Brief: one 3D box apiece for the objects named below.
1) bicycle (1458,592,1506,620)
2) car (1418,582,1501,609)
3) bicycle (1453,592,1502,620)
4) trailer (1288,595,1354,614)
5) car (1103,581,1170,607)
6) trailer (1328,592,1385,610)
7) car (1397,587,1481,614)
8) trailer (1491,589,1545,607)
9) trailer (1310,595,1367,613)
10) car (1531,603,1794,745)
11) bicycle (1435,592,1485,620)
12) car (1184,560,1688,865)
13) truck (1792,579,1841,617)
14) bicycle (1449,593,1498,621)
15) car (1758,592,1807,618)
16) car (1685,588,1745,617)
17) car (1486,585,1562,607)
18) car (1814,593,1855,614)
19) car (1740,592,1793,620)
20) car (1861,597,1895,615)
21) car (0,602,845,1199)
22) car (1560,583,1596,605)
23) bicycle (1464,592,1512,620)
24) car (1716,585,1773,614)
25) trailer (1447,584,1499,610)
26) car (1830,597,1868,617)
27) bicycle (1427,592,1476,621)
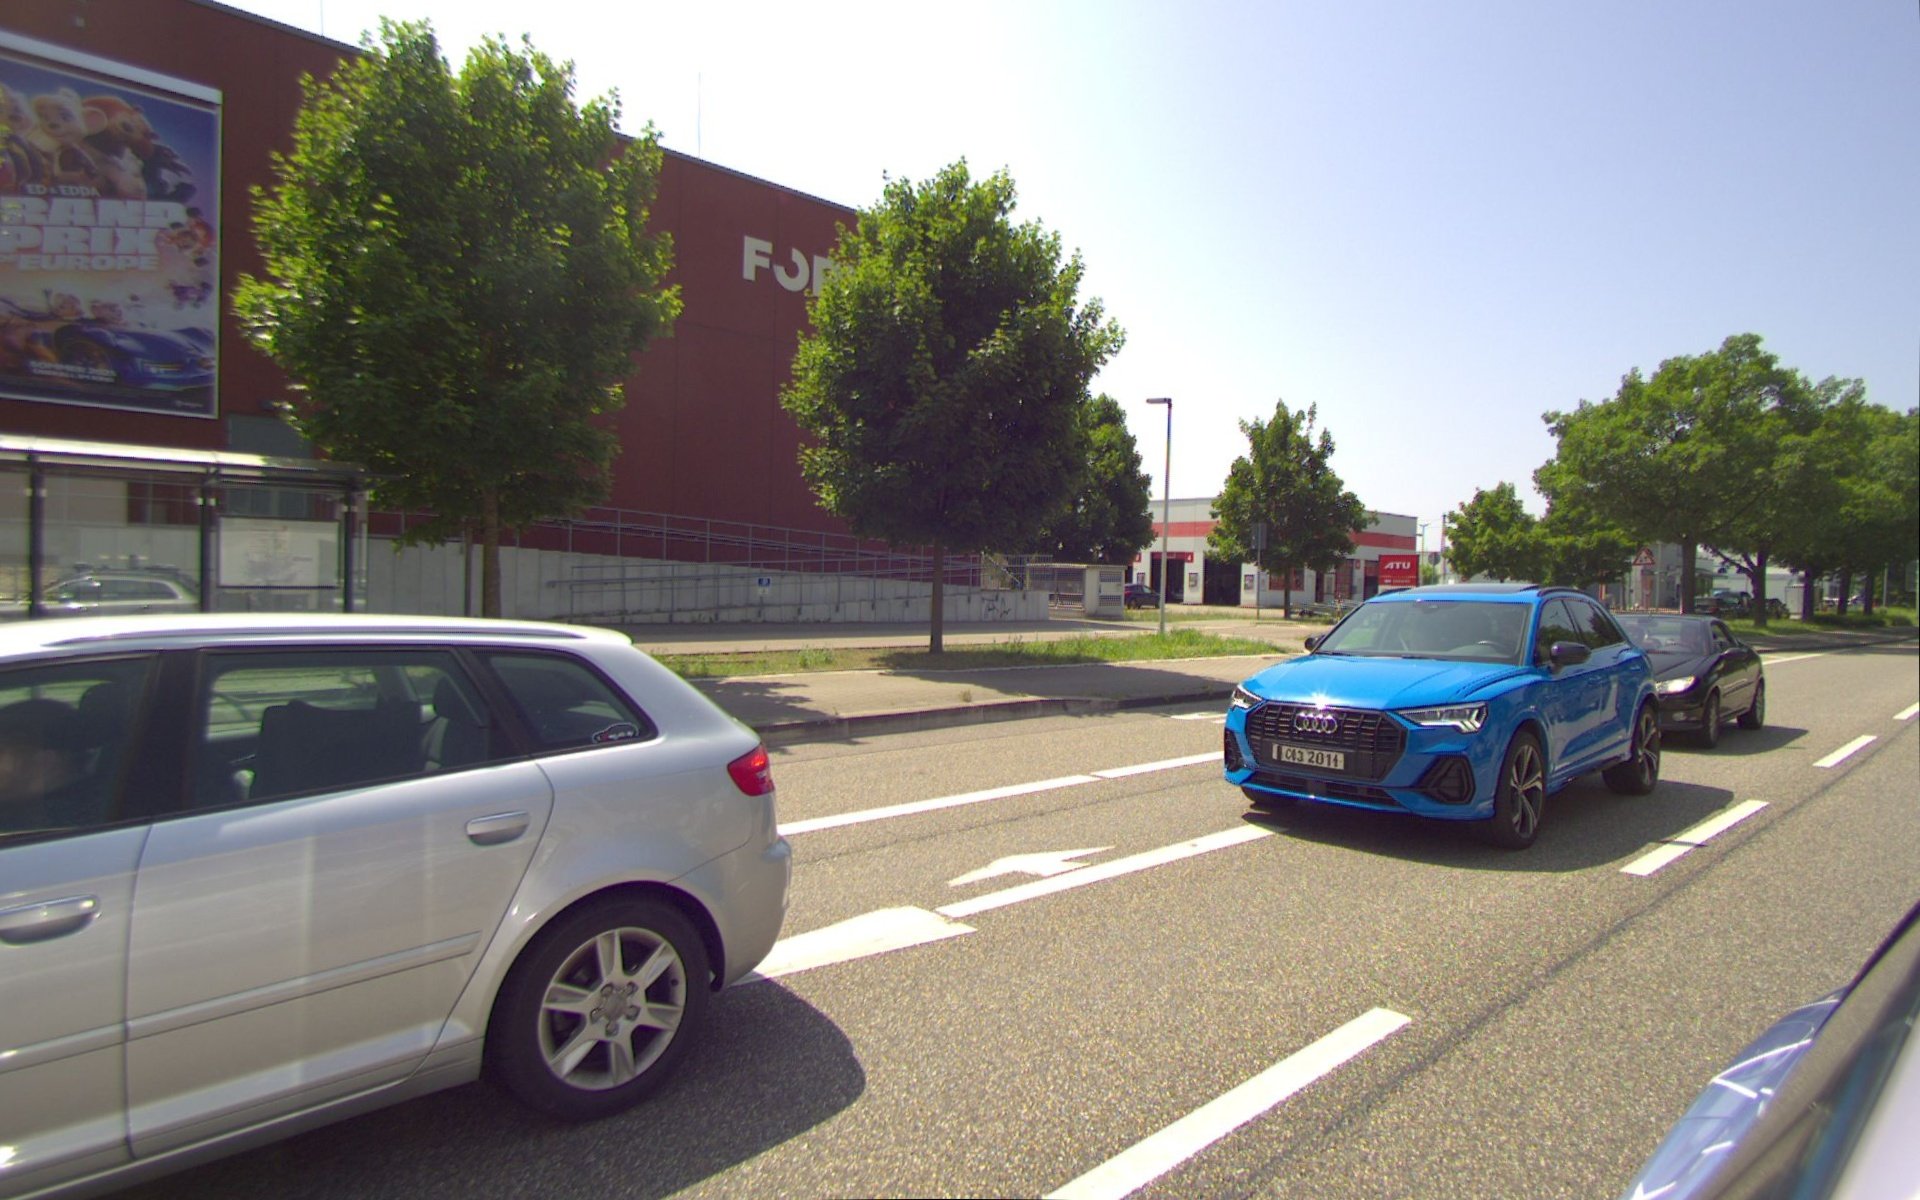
[{"bbox_3d":[22.749,0.256,44.149,1.779,1.138,0.506,3,1,43],"label":"bicycle"},{"bbox_3d":[29.125,-0.289,59.079,1.718,1.419,3.991,0,2,-44],"label":"car"},{"bbox_3d":[22.281,0.238,43.609,1.779,1.138,0.506,3,1,43],"label":"bicycle"},{"bbox_3d":[16.322,0.196,45.795,1.423,0.771,2.467,0,2,-39],"label":"trailer"},{"bbox_3d":[10.445,-0.351,59.652,4.074,1.390,1.716,0,2,-42],"label":"car"},{"bbox_3d":[18.902,0.031,48.237,1.369,0.771,2.137,0,2,-39],"label":"trailer"},{"bbox_3d":[27.334,0.010,57.796,1.718,1.419,3.992,0,2,-43],"label":"car"},{"bbox_3d":[34.930,-0.124,63.383,1.552,1.065,2.638,0,2,-43],"label":"trailer"},{"bbox_3d":[17.626,0.170,47.166,1.244,0.771,2.137,0,2,-39],"label":"trailer"},{"bbox_3d":[8.182,0.715,11.658,3.931,1.361,1.640,0,-1,-42],"label":"car"},{"bbox_3d":[21.151,0.243,42.835,1.779,1.138,0.506,3,1,43],"label":"bicycle"},{"bbox_3d":[3.715,0.577,7.498,4.324,1.616,1.840,0,1,-42],"label":"car"},{"bbox_3d":[60.281,-0.141,71.210,3.929,2.599,1.904,0,1,-40],"label":"truck"},{"bbox_3d":[21.872,0.278,43.118,1.779,1.138,0.506,3,1,43],"label":"bicycle"},{"bbox_3d":[51.663,0.299,63.545,3.930,1.532,1.719,0,2,-41],"label":"car"},{"bbox_3d":[38.825,0.109,51.993,3.930,1.388,1.641,0,2,-41],"label":"car"},{"bbox_3d":[36.370,-0.281,65.297,1.662,1.317,3.991,0,2,-44],"label":"car"},{"bbox_3d":[64.695,0.229,74.860,3.930,1.485,1.719,0,2,-41],"label":"car"},{"bbox_3d":[47.287,0.329,59.328,3.930,1.539,1.719,0,2,-41],"label":"car"},{"bbox_3d":[79.964,0.483,88.135,3.930,1.485,1.719,0,2,-41],"label":"car"},{"bbox_3d":[-2.430,0.701,2.650,4.022,1.379,1.714,0,0,-43],"label":"car"},{"bbox_3d":[48.314,-0.462,79.109,1.753,1.616,3.940,2,2,42],"label":"car"},{"bbox_3d":[23.335,0.247,44.720,1.779,1.138,0.506,3,1,43],"label":"bicycle"},{"bbox_3d":[43.448,-0.035,56.006,3.930,1.485,1.719,0,2,-41],"label":"car"},{"bbox_3d":[33.065,-0.218,65.265,1.391,1.546,2.638,0,2,-43],"label":"trailer"},{"bbox_3d":[69.659,0.556,79.272,3.930,1.485,1.719,0,2,-41],"label":"car"},{"bbox_3d":[20.636,0.257,42.489,1.779,1.138,0.506,3,1,43],"label":"bicycle"}]
